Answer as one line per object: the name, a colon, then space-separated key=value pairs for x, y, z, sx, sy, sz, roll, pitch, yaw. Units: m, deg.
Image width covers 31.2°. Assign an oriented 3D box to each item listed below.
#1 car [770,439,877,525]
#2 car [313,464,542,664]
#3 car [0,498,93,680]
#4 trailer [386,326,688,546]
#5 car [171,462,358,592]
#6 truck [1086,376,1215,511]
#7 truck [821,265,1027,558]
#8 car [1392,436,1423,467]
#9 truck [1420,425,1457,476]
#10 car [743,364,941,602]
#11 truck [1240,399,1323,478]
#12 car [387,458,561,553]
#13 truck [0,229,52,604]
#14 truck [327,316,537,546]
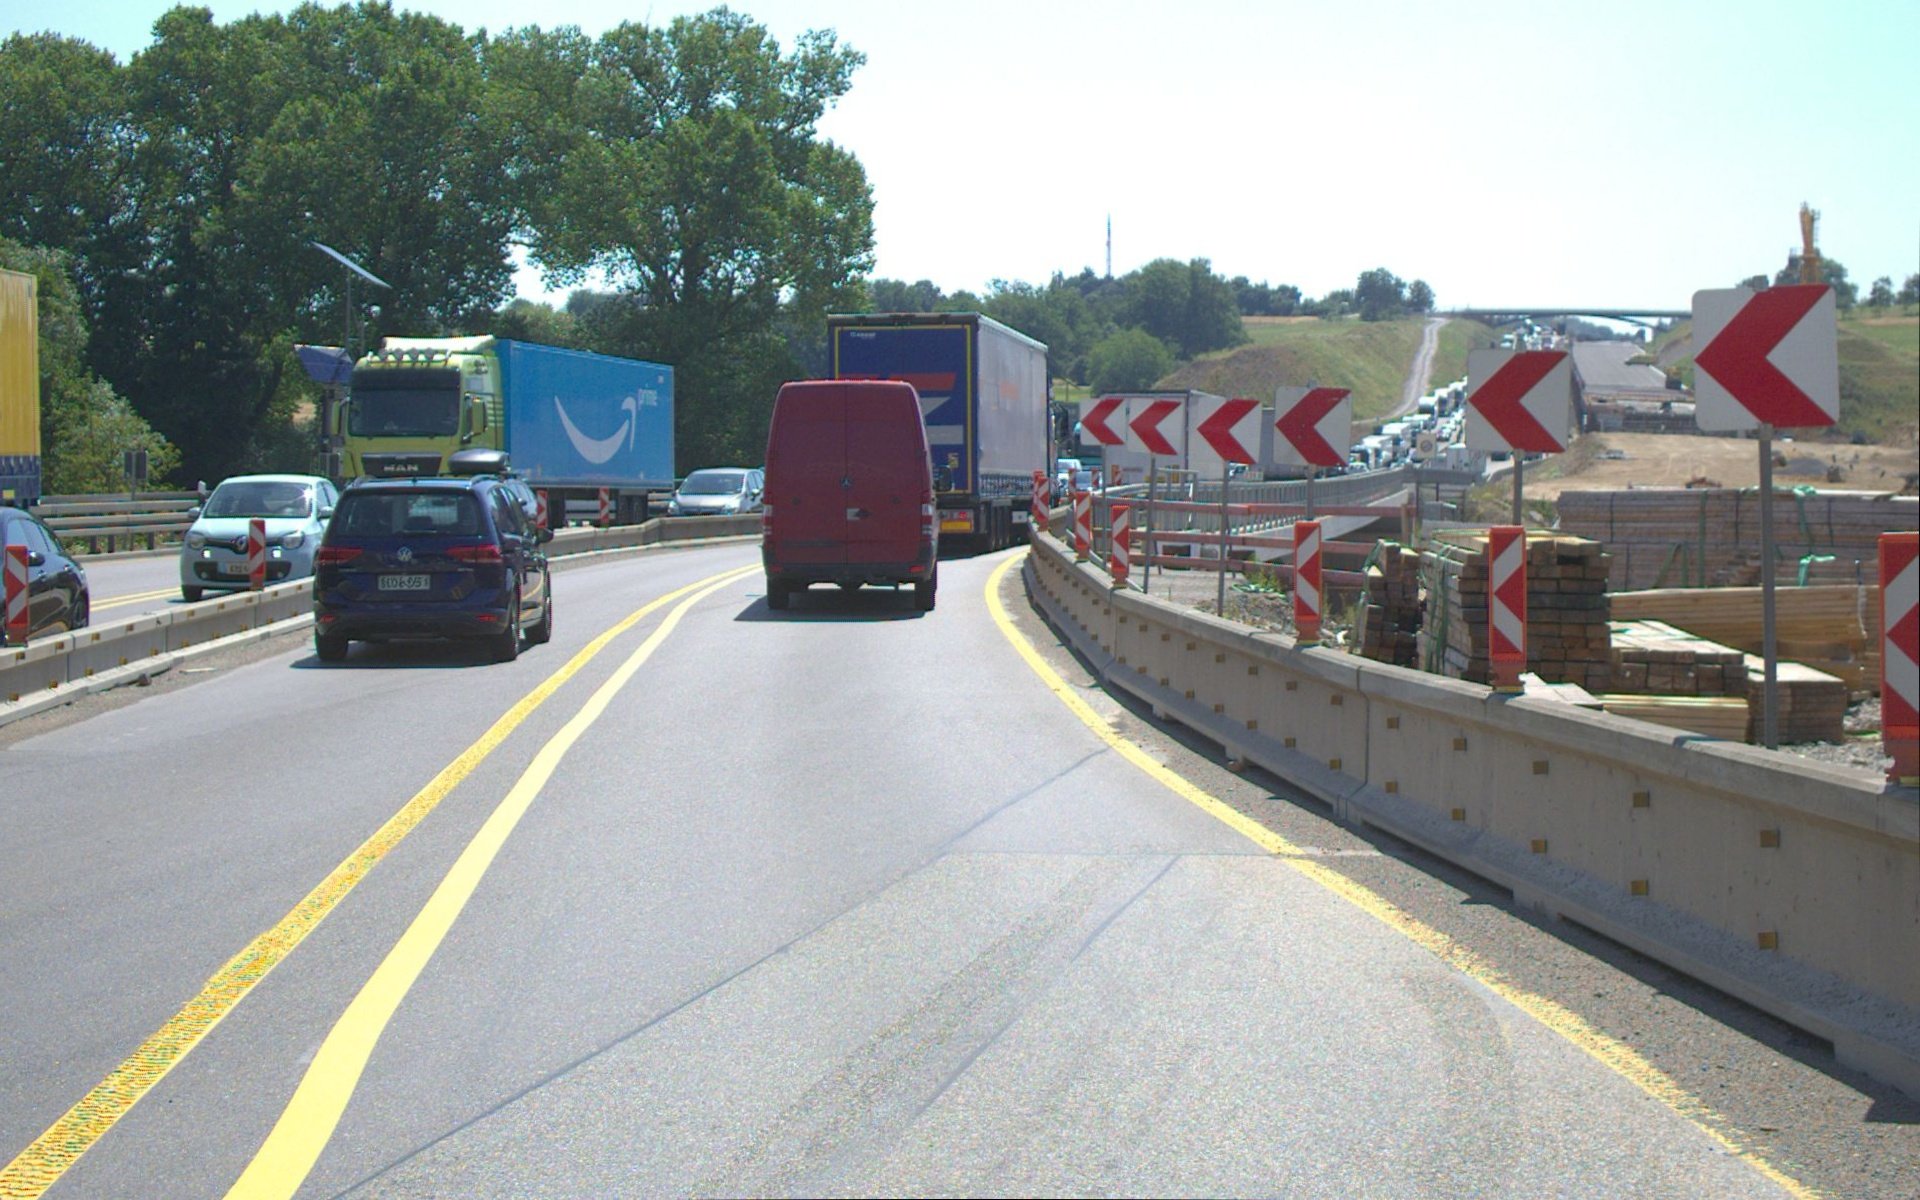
car: x=-2.700 y=-2.327 z=68.771 sx=1.834 sy=1.630 sz=4.389 roll=0 pitch=1 yaw=2
car: x=-4.887 y=-0.397 z=32.026 sx=1.733 sy=1.629 sz=4.391 roll=1 pitch=3 yaw=-4
car: x=-8.354 y=-0.132 z=28.068 sx=1.676 sy=1.357 sz=4.504 roll=1 pitch=2 yaw=-4
trailer: x=-8.892 y=-3.404 z=74.540 sx=2.648 sy=4.278 sz=13.304 roll=2 pitch=2 yaw=10
car: x=-8.694 y=-0.953 z=43.251 sx=1.636 sy=1.480 sz=4.001 roll=1 pitch=3 yaw=-2
truck: x=5.873 y=-4.758 z=105.156 sx=3.183 sy=3.976 sz=6.739 roll=1 pitch=2 yaw=10
truck: x=-0.547 y=-3.313 z=61.483 sx=2.945 sy=4.928 sz=6.741 roll=1 pitch=2 yaw=6
car: x=25.750 y=-8.534 z=197.781 sx=1.618 sy=1.694 sz=3.889 roll=1 pitch=2 yaw=9
truck: x=30.362 y=-9.517 z=218.213 sx=2.292 sy=3.185 sz=6.481 roll=0 pitch=2 yaw=8
car: x=-1.469 y=-1.348 z=41.192 sx=2.149 sy=2.602 sz=5.439 roll=1 pitch=1 yaw=-3
truck: x=14.679 y=-7.306 z=156.498 sx=3.184 sy=2.967 sz=8.895 roll=1 pitch=-1 yaw=9
car: x=-7.839 y=-1.564 z=55.839 sx=1.820 sy=1.430 sz=4.583 roll=1 pitch=3 yaw=4
truck: x=-12.440 y=-1.980 z=34.393 sx=2.807 sy=4.327 sz=15.377 roll=1 pitch=2 yaw=-1
truck: x=-10.214 y=-3.235 z=66.883 sx=2.626 sy=4.255 sz=4.730 roll=2 pitch=2 yaw=9
